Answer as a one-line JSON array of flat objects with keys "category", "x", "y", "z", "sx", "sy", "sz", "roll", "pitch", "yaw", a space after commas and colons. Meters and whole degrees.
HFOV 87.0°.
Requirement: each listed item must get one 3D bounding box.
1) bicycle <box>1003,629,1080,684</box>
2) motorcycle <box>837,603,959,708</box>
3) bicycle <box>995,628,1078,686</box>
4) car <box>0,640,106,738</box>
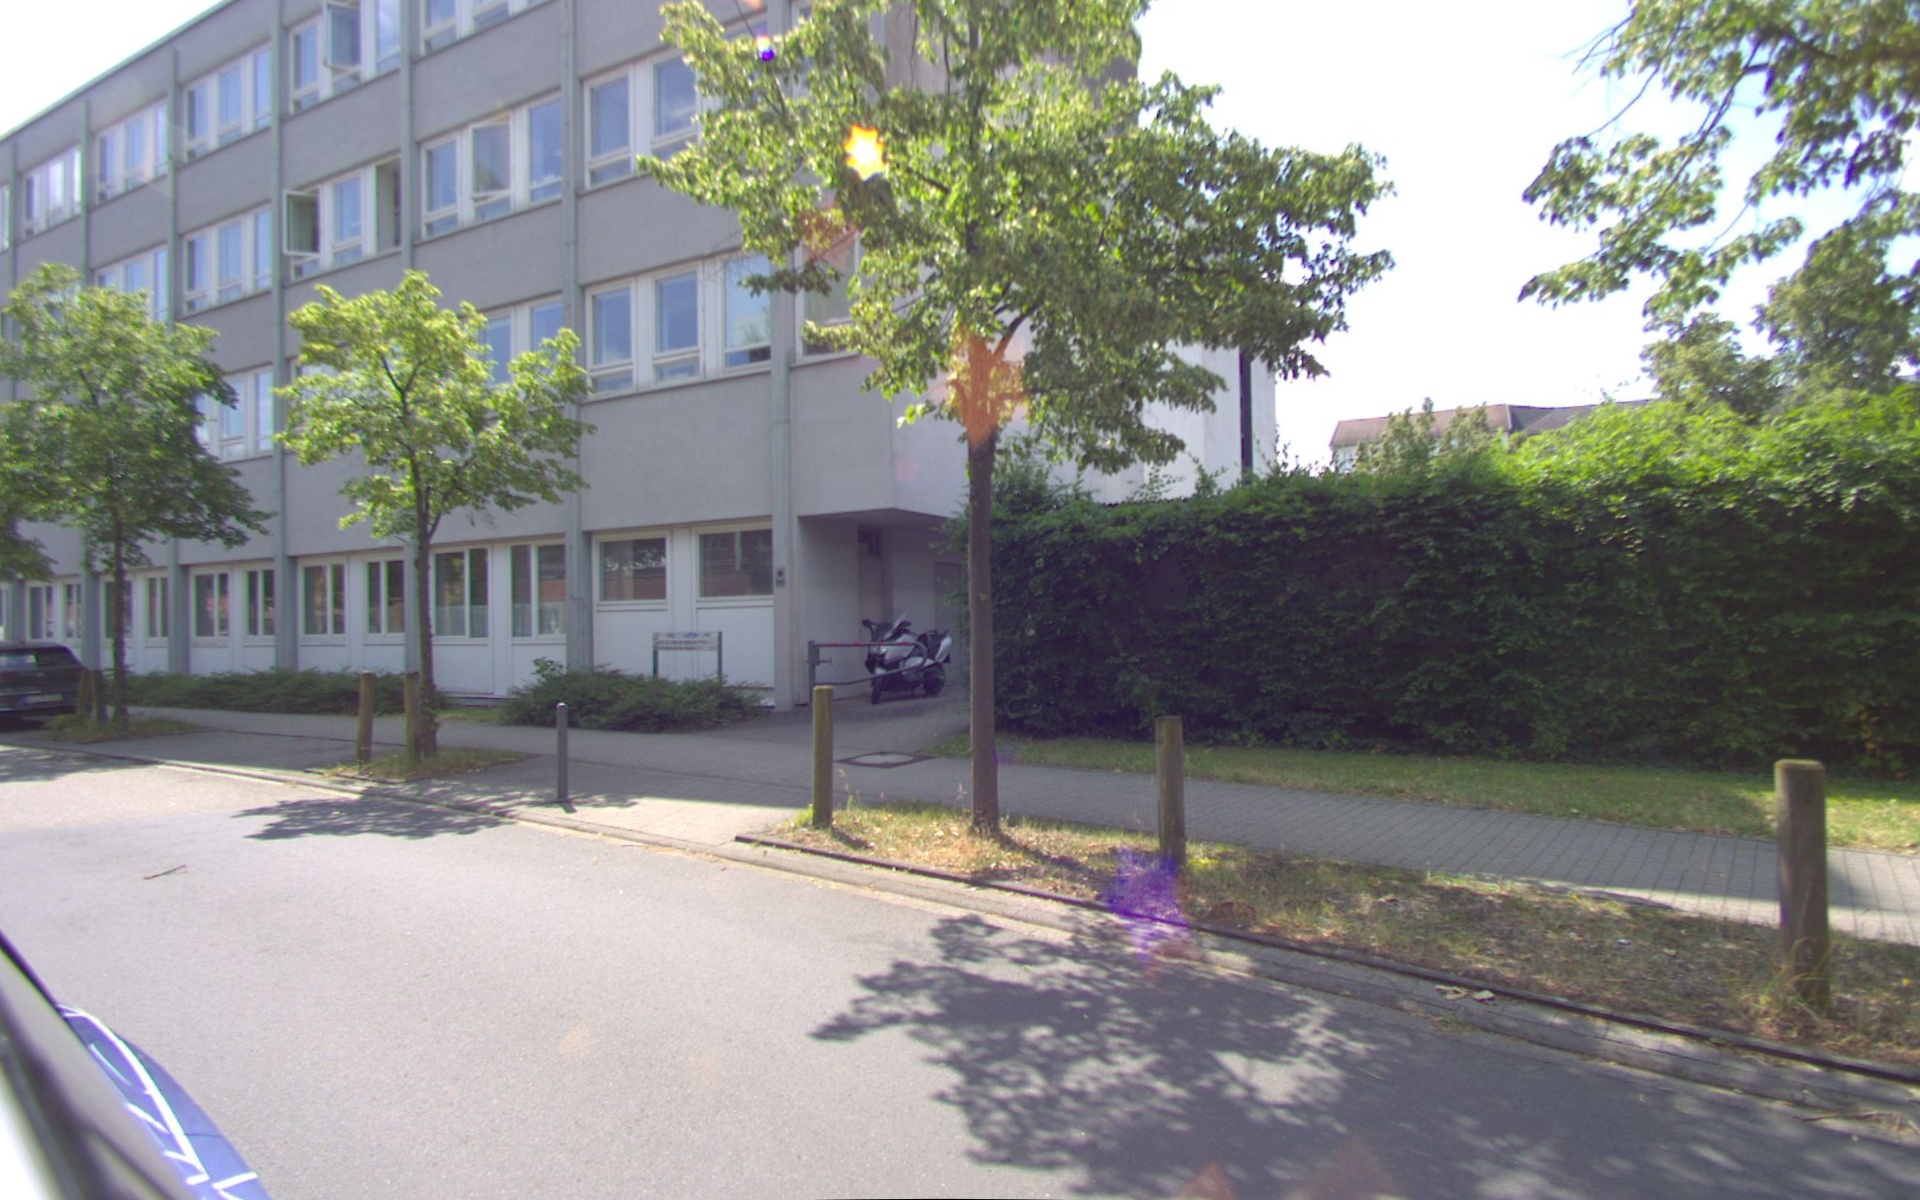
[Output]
[{"category": "bicycle", "x": 1.828, "y": 1.226, "z": 22.432, "sx": 1.864, "sy": 1.130, "sz": 0.582, "roll": 0, "pitch": -2, "yaw": -43}, {"category": "motorcycle", "x": -0.948, "y": 0.850, "z": 16.243, "sx": 1.076, "sy": 1.562, "sz": 2.085, "roll": -2, "pitch": -1, "yaw": 25}, {"category": "bicycle", "x": 1.649, "y": 1.191, "z": 21.463, "sx": 2.019, "sy": 1.130, "sz": 0.523, "roll": 0, "pitch": -2, "yaw": -44}, {"category": "car", "x": -16.838, "y": 1.497, "z": 17.399, "sx": 4.237, "sy": 1.472, "sz": 1.768, "roll": -2, "pitch": 0, "yaw": 27}]
